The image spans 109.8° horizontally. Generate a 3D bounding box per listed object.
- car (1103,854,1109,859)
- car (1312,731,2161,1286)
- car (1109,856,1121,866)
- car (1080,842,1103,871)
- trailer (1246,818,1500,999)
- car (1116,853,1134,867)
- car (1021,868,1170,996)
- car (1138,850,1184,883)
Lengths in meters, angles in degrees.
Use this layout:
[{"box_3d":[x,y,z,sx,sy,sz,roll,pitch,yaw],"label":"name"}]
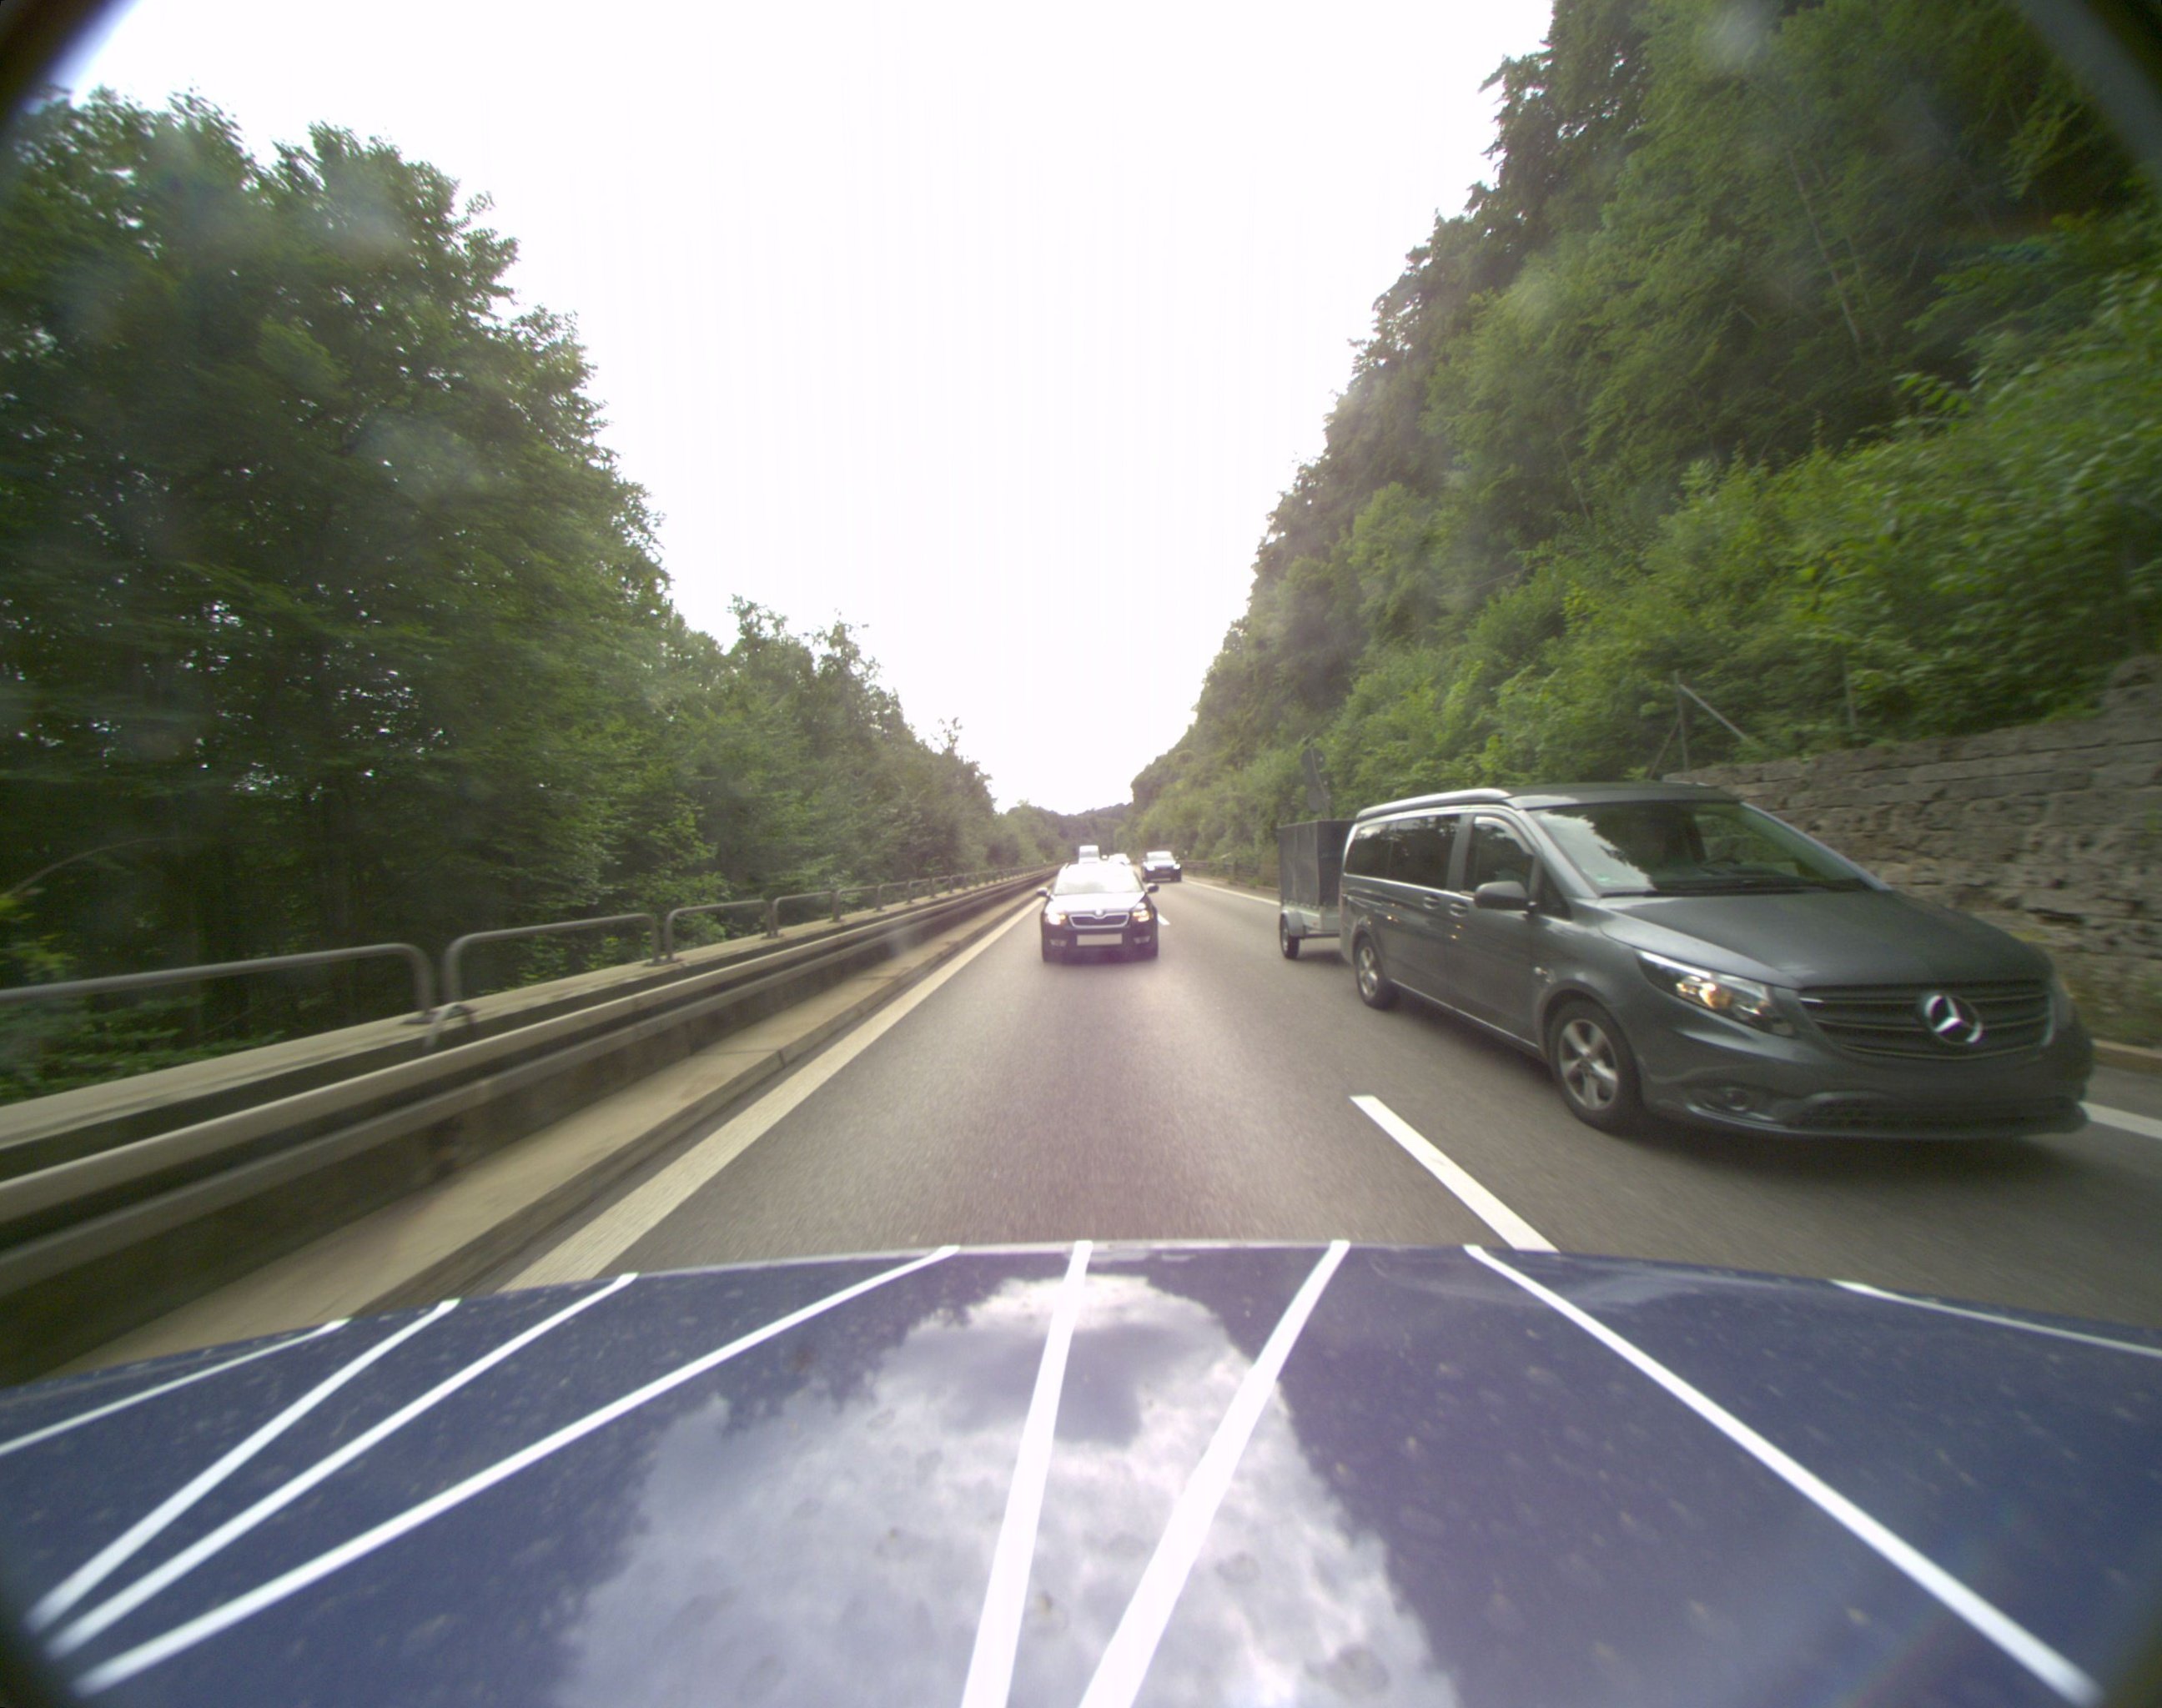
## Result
[{"box_3d":[8.287,0.796,249.960,1.823,1.546,4.002,0,-1,3],"label":"car"},{"box_3d":[3.553,0.575,5.539,1.999,2.002,5.540,-1,0,0],"label":"car"},{"box_3d":[5.361,1.151,118.916,1.823,1.546,4.001,0,-1,1],"label":"car"},{"box_3d":[1.030,0.283,71.216,2.099,2.547,5.921,0,-1,2],"label":"car"},{"box_3d":[3.538,0.601,9.947,1.976,1.928,3.430,-1,0,0],"label":"trailer"},{"box_3d":[4.837,0.662,84.199,1.823,1.546,4.001,0,-1,2],"label":"car"},{"box_3d":[0.220,0.956,11.036,1.638,1.384,4.500,-3,-1,1],"label":"car"},{"box_3d":[4.334,0.636,42.183,1.976,1.584,5.585,-3,1,1],"label":"car"}]
